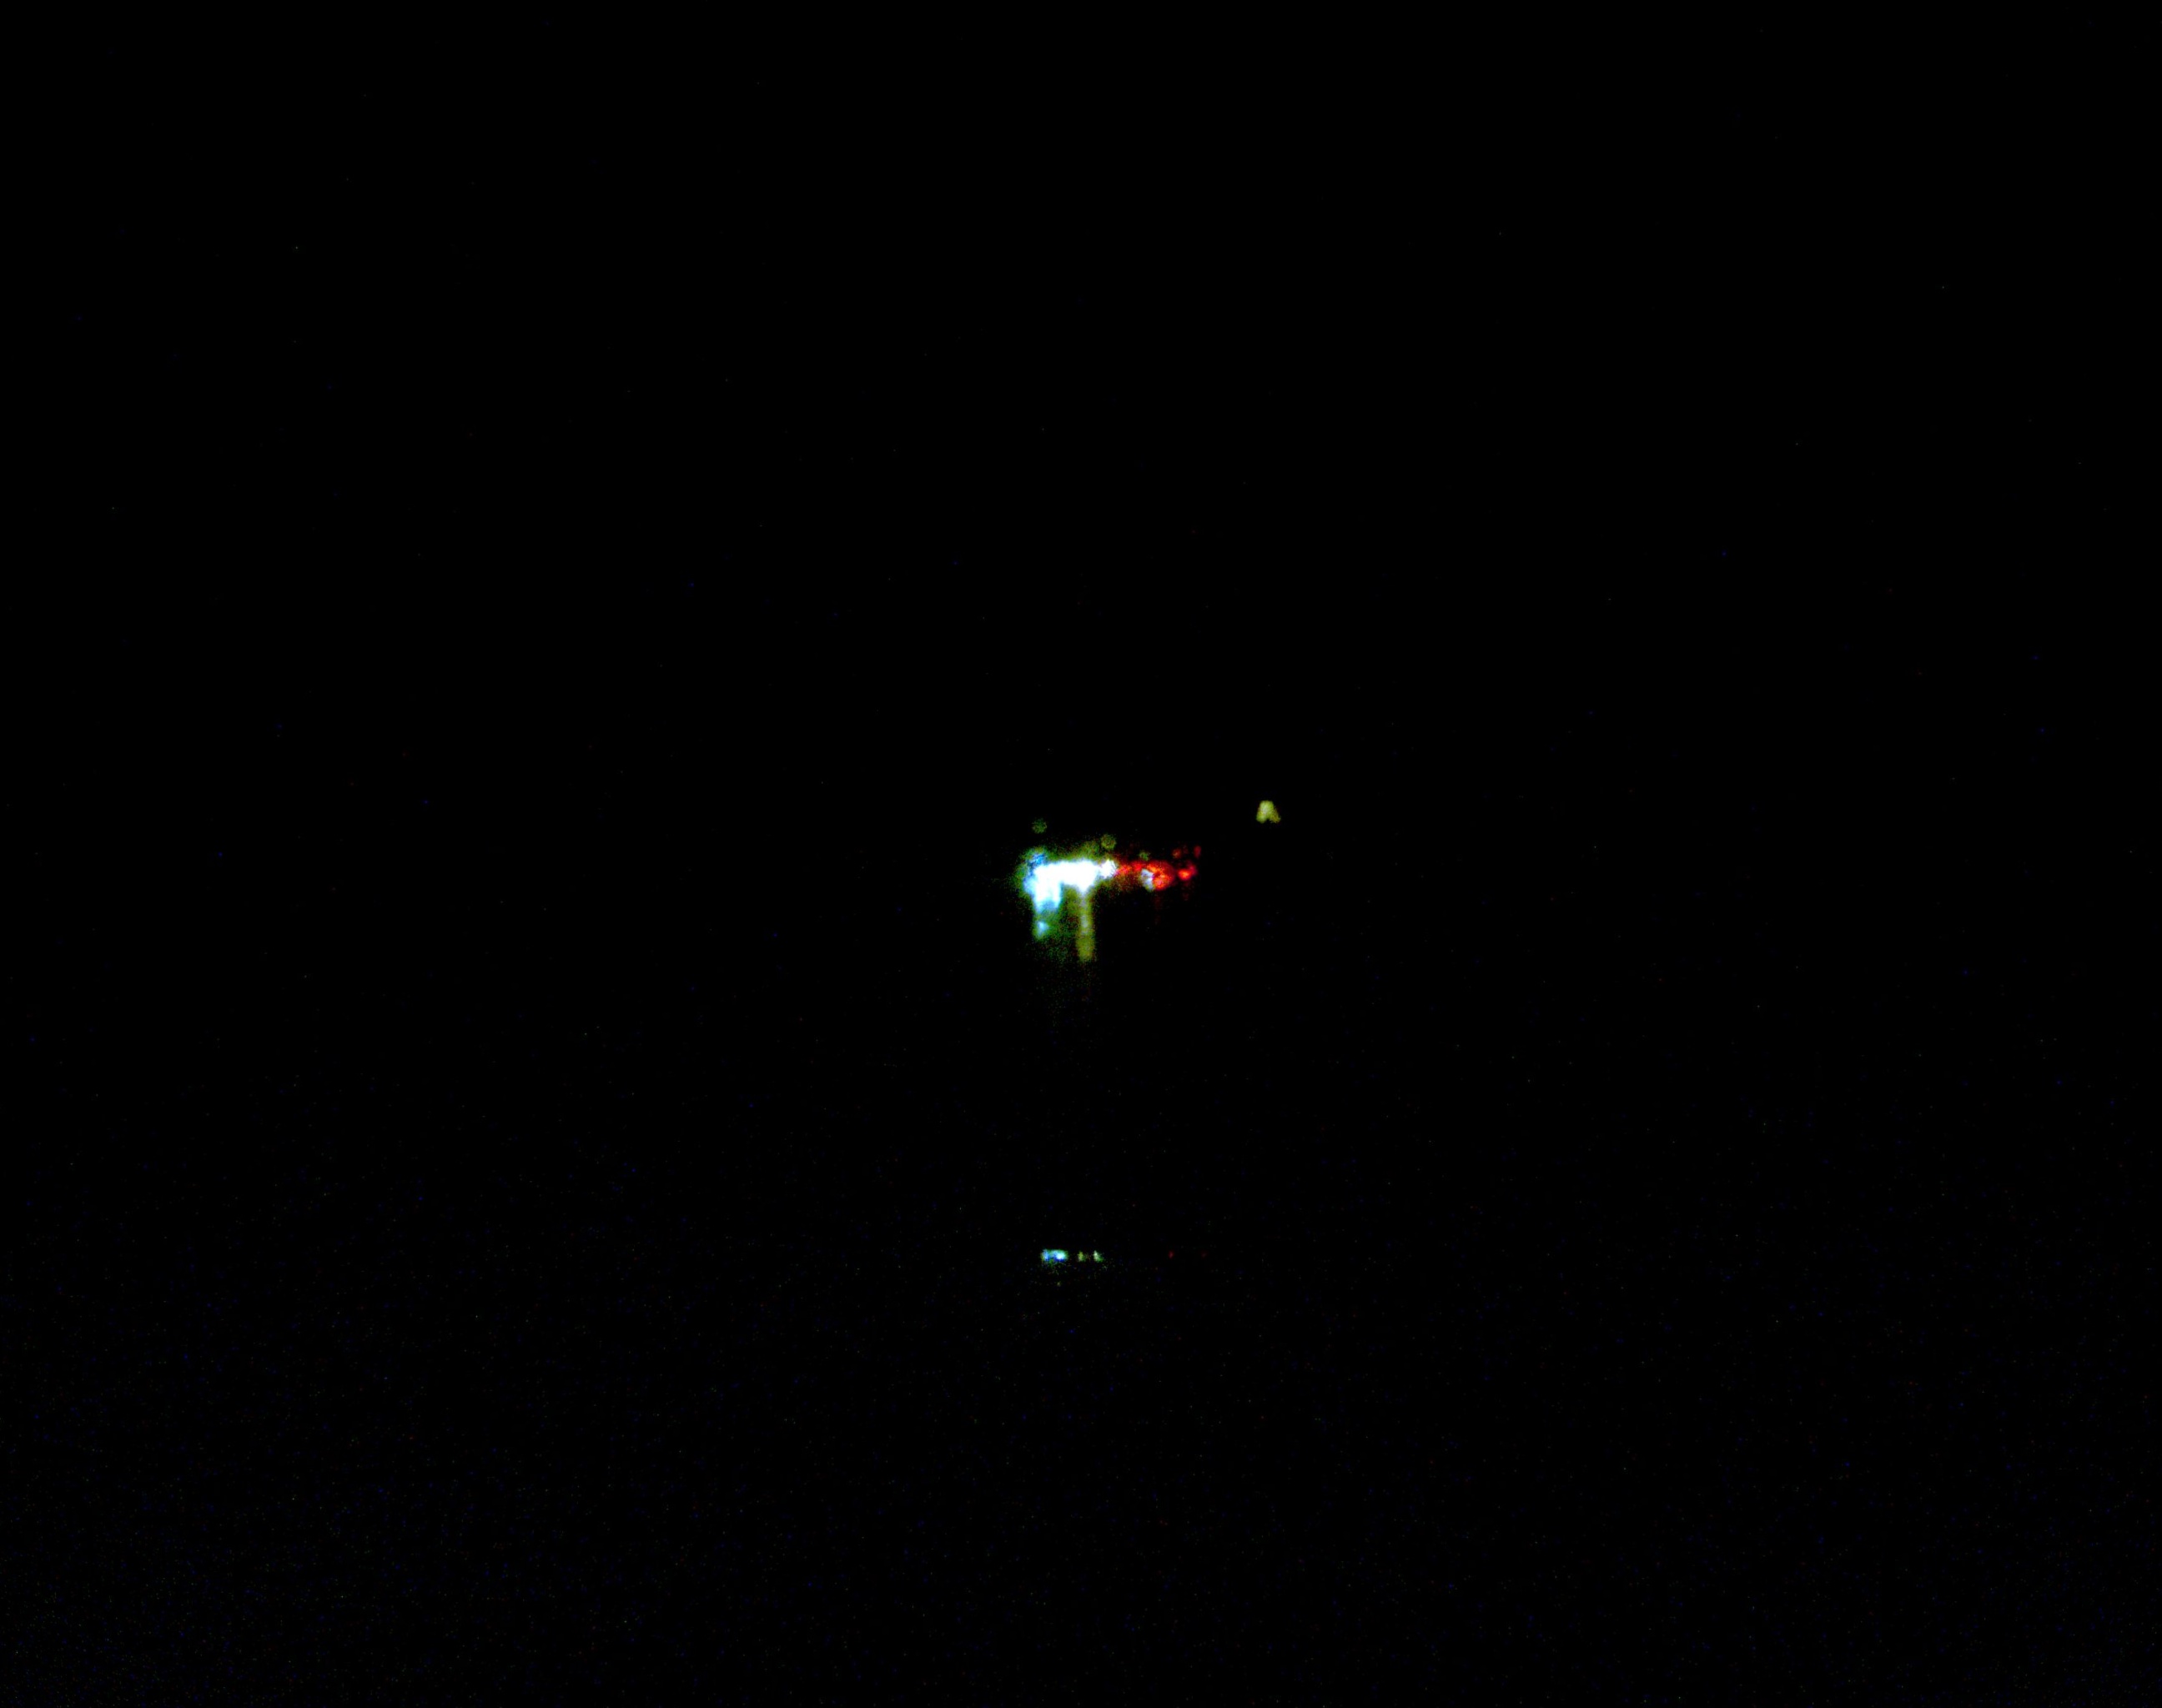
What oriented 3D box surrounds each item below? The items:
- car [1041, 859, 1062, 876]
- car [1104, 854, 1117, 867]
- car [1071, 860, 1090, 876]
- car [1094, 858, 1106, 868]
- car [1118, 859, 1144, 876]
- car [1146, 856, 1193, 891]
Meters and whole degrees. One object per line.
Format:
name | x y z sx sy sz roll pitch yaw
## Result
car | -3.065 1.377 78.706 1.999 1.575 4.000 -5 0 -1
car | 4.118 0.830 105.412 1.794 1.681 4.001 -2 0 3
car | -0.070 1.524 84.740 1.999 1.575 4.000 -3 0 0
car | 3.278 1.578 131.629 1.904 1.635 3.791 -2 0 0
car | 4.442 1.177 68.184 1.999 1.409 4.665 -2 0 0
car | 4.157 0.884 36.092 1.998 1.489 3.775 -2 0 4
